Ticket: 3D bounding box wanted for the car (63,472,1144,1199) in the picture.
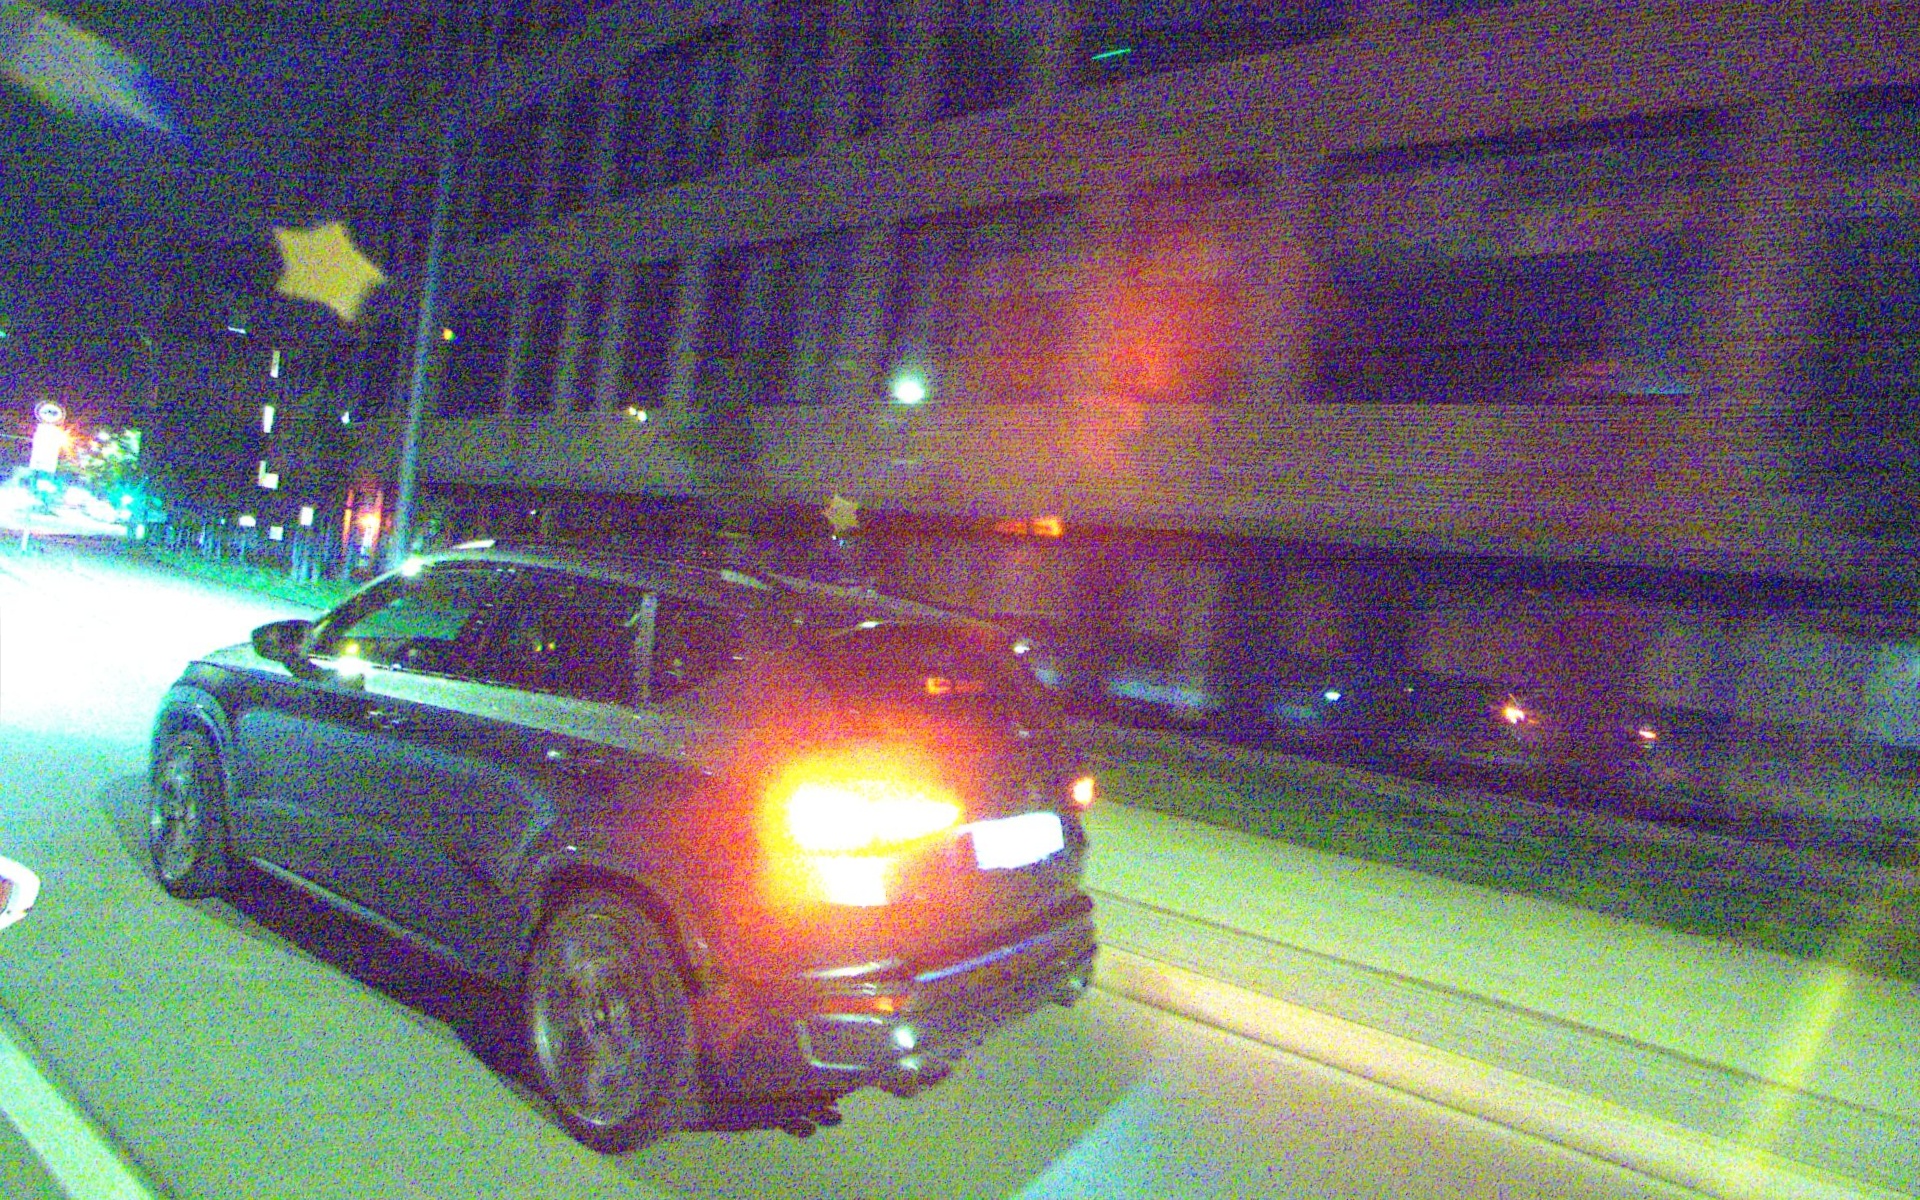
[{"bbox_3d":[-1.619,0.531,4.009,4.159,1.629,1.674,6,-2,32],"label":"car"}]
